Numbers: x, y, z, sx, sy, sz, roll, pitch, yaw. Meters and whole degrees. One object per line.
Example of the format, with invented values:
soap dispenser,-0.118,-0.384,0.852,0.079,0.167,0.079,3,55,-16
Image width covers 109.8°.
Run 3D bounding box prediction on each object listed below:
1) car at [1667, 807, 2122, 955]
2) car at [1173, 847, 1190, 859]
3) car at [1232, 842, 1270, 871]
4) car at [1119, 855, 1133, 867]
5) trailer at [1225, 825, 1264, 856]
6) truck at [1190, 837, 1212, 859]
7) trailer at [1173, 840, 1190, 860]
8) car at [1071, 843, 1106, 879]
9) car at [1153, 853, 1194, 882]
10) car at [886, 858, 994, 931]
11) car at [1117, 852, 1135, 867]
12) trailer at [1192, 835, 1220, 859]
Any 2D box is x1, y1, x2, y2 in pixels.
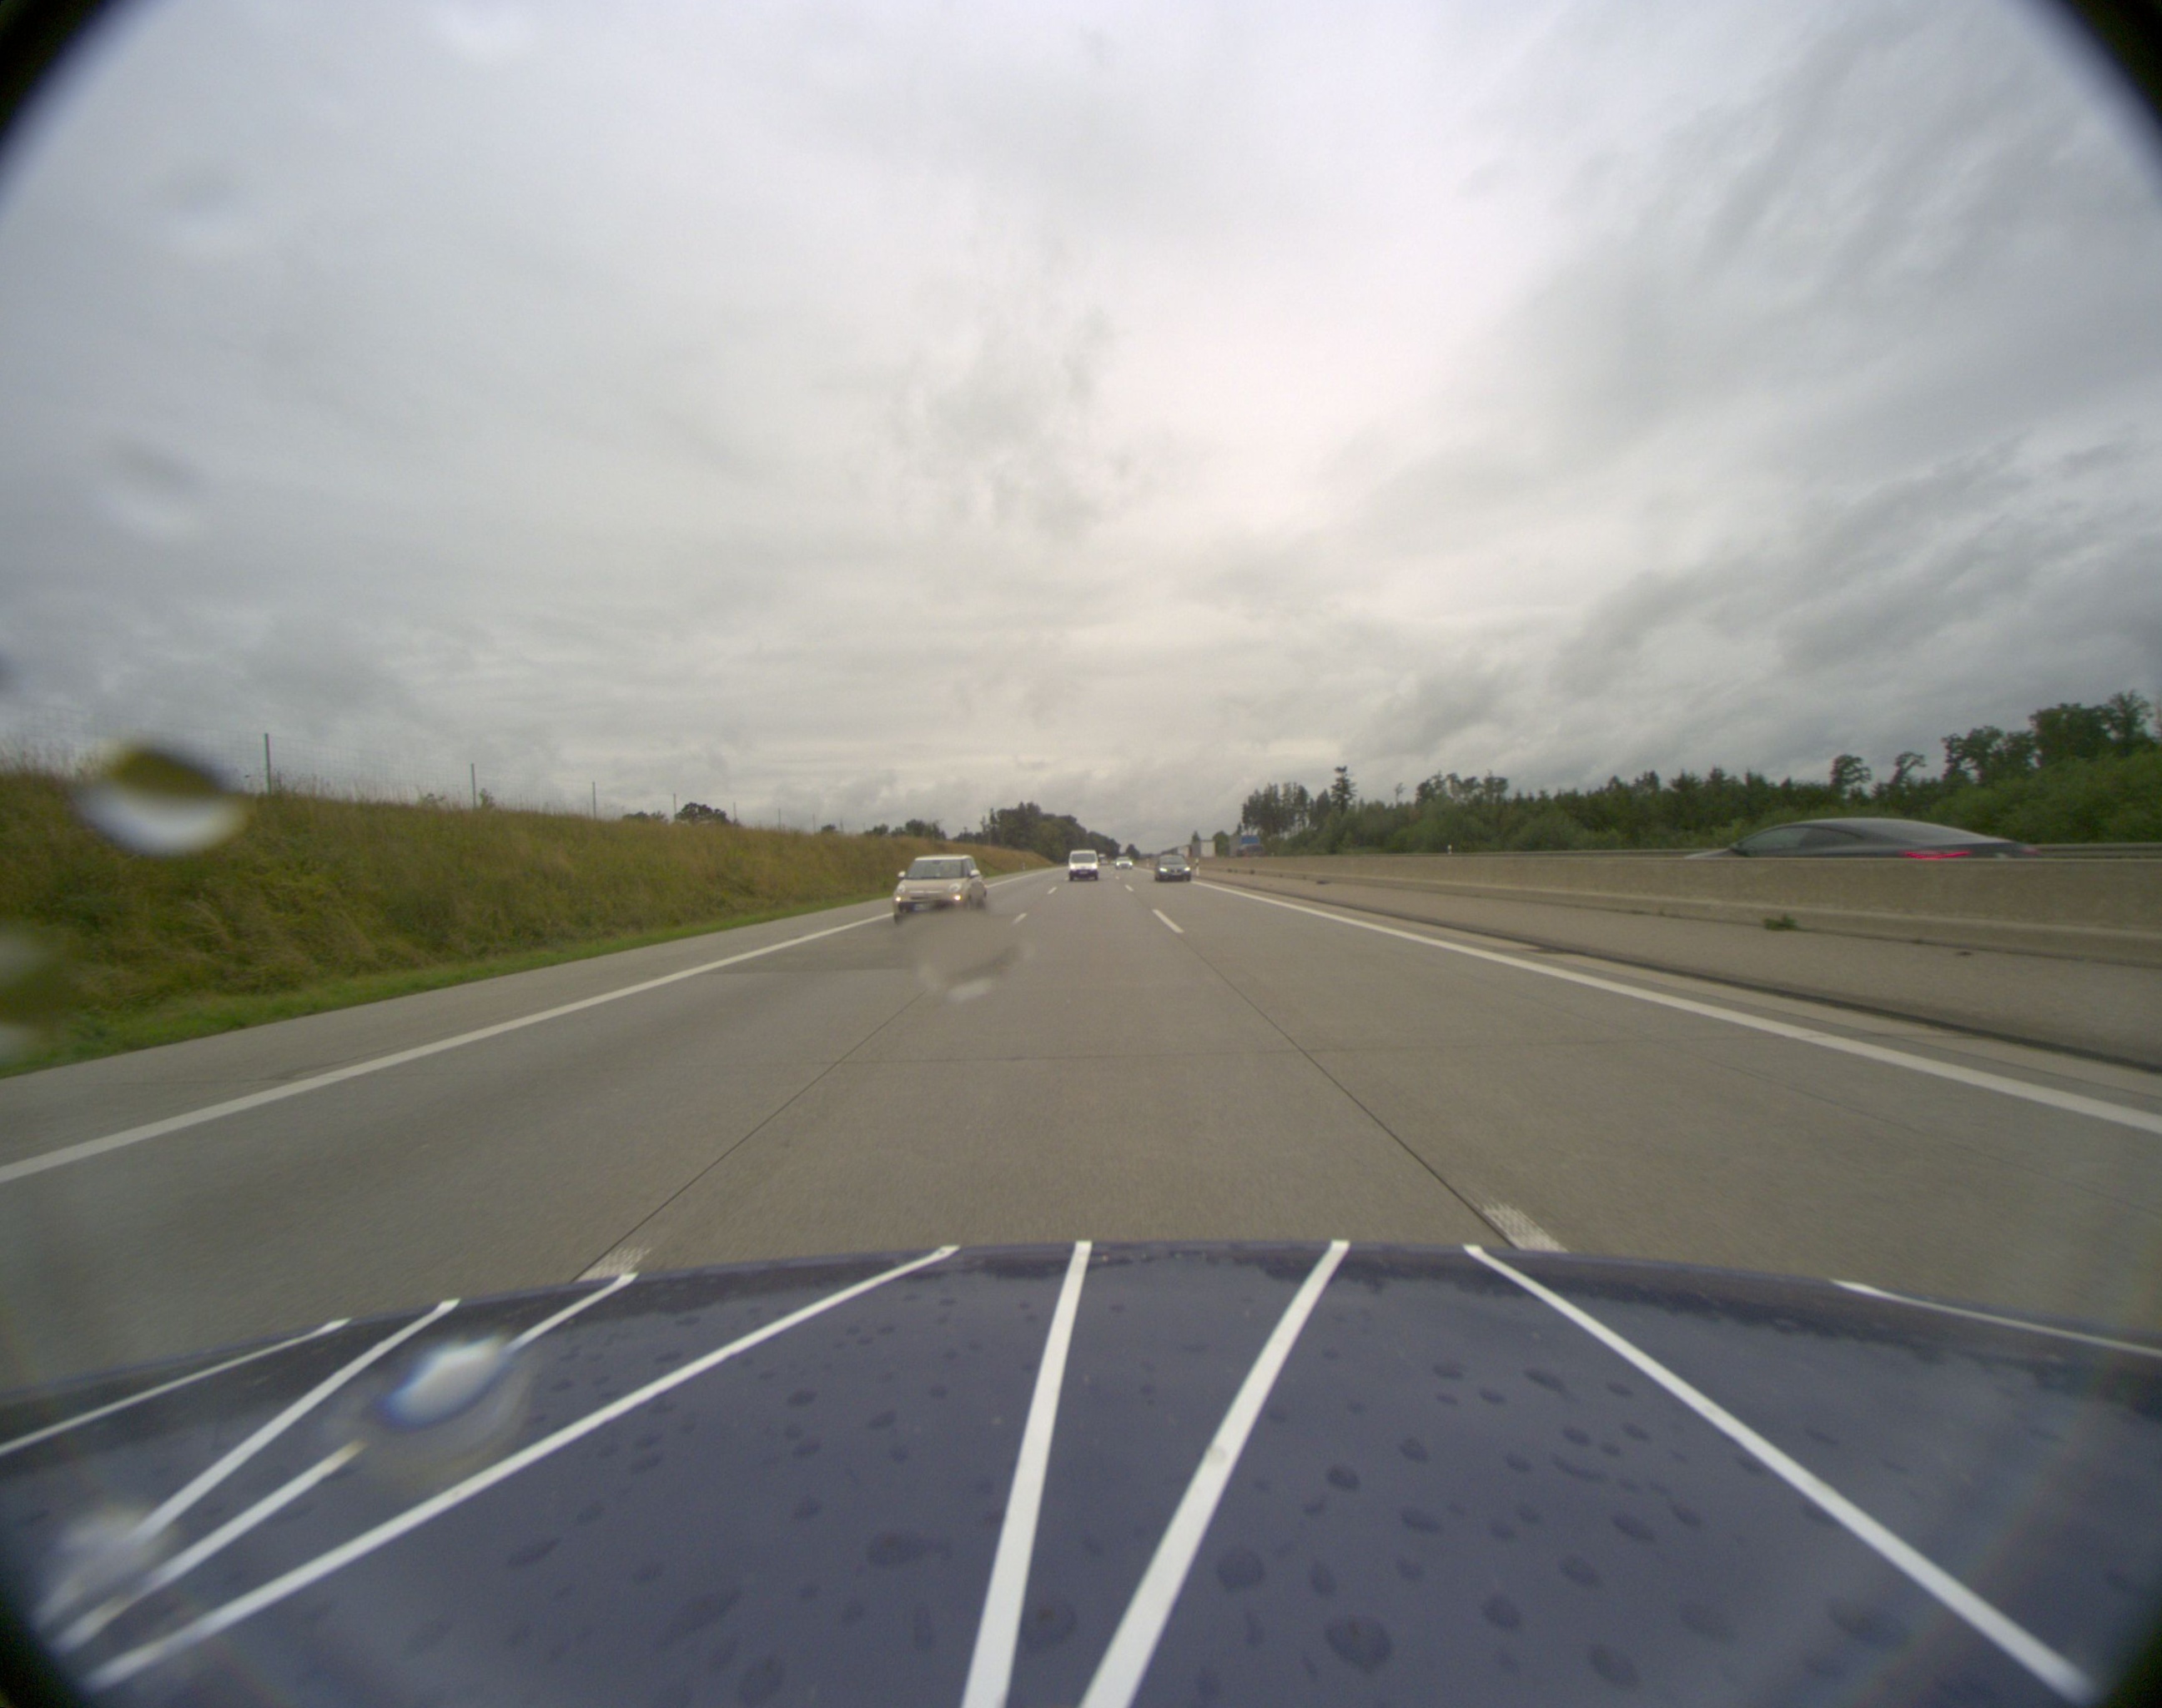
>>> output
car,11.587,0.339,11.452,1.998,1.728,4.527,-2,0,1
car,14.293,-0.103,108.573,1.998,1.674,3.535,-2,0,1
car,13.485,0.186,60.645,1.998,2.134,4.864,-2,0,1
car,6.509,1.047,109.903,1.885,1.669,4.319,-2,0,2
trailer,21.805,-1.689,102.317,2.856,3.814,12.401,-2,0,2
truck,23.674,-1.134,150.683,3.478,4.157,6.494,-2,0,2
trailer,24.845,-0.905,188.366,2.923,4.598,13.639,-2,0,2
car,0.557,0.428,49.540,2.042,2.111,6.069,-2,0,2
car,5.156,0.750,42.798,1.789,1.472,4.571,-2,0,1
car,-3.452,0.926,19.493,1.789,1.595,4.571,-2,0,1
car,5.455,0.684,91.026,2.030,1.669,4.320,-2,0,4
trailer,23.345,-1.204,142.968,3.491,4.177,12.930,-2,0,2
